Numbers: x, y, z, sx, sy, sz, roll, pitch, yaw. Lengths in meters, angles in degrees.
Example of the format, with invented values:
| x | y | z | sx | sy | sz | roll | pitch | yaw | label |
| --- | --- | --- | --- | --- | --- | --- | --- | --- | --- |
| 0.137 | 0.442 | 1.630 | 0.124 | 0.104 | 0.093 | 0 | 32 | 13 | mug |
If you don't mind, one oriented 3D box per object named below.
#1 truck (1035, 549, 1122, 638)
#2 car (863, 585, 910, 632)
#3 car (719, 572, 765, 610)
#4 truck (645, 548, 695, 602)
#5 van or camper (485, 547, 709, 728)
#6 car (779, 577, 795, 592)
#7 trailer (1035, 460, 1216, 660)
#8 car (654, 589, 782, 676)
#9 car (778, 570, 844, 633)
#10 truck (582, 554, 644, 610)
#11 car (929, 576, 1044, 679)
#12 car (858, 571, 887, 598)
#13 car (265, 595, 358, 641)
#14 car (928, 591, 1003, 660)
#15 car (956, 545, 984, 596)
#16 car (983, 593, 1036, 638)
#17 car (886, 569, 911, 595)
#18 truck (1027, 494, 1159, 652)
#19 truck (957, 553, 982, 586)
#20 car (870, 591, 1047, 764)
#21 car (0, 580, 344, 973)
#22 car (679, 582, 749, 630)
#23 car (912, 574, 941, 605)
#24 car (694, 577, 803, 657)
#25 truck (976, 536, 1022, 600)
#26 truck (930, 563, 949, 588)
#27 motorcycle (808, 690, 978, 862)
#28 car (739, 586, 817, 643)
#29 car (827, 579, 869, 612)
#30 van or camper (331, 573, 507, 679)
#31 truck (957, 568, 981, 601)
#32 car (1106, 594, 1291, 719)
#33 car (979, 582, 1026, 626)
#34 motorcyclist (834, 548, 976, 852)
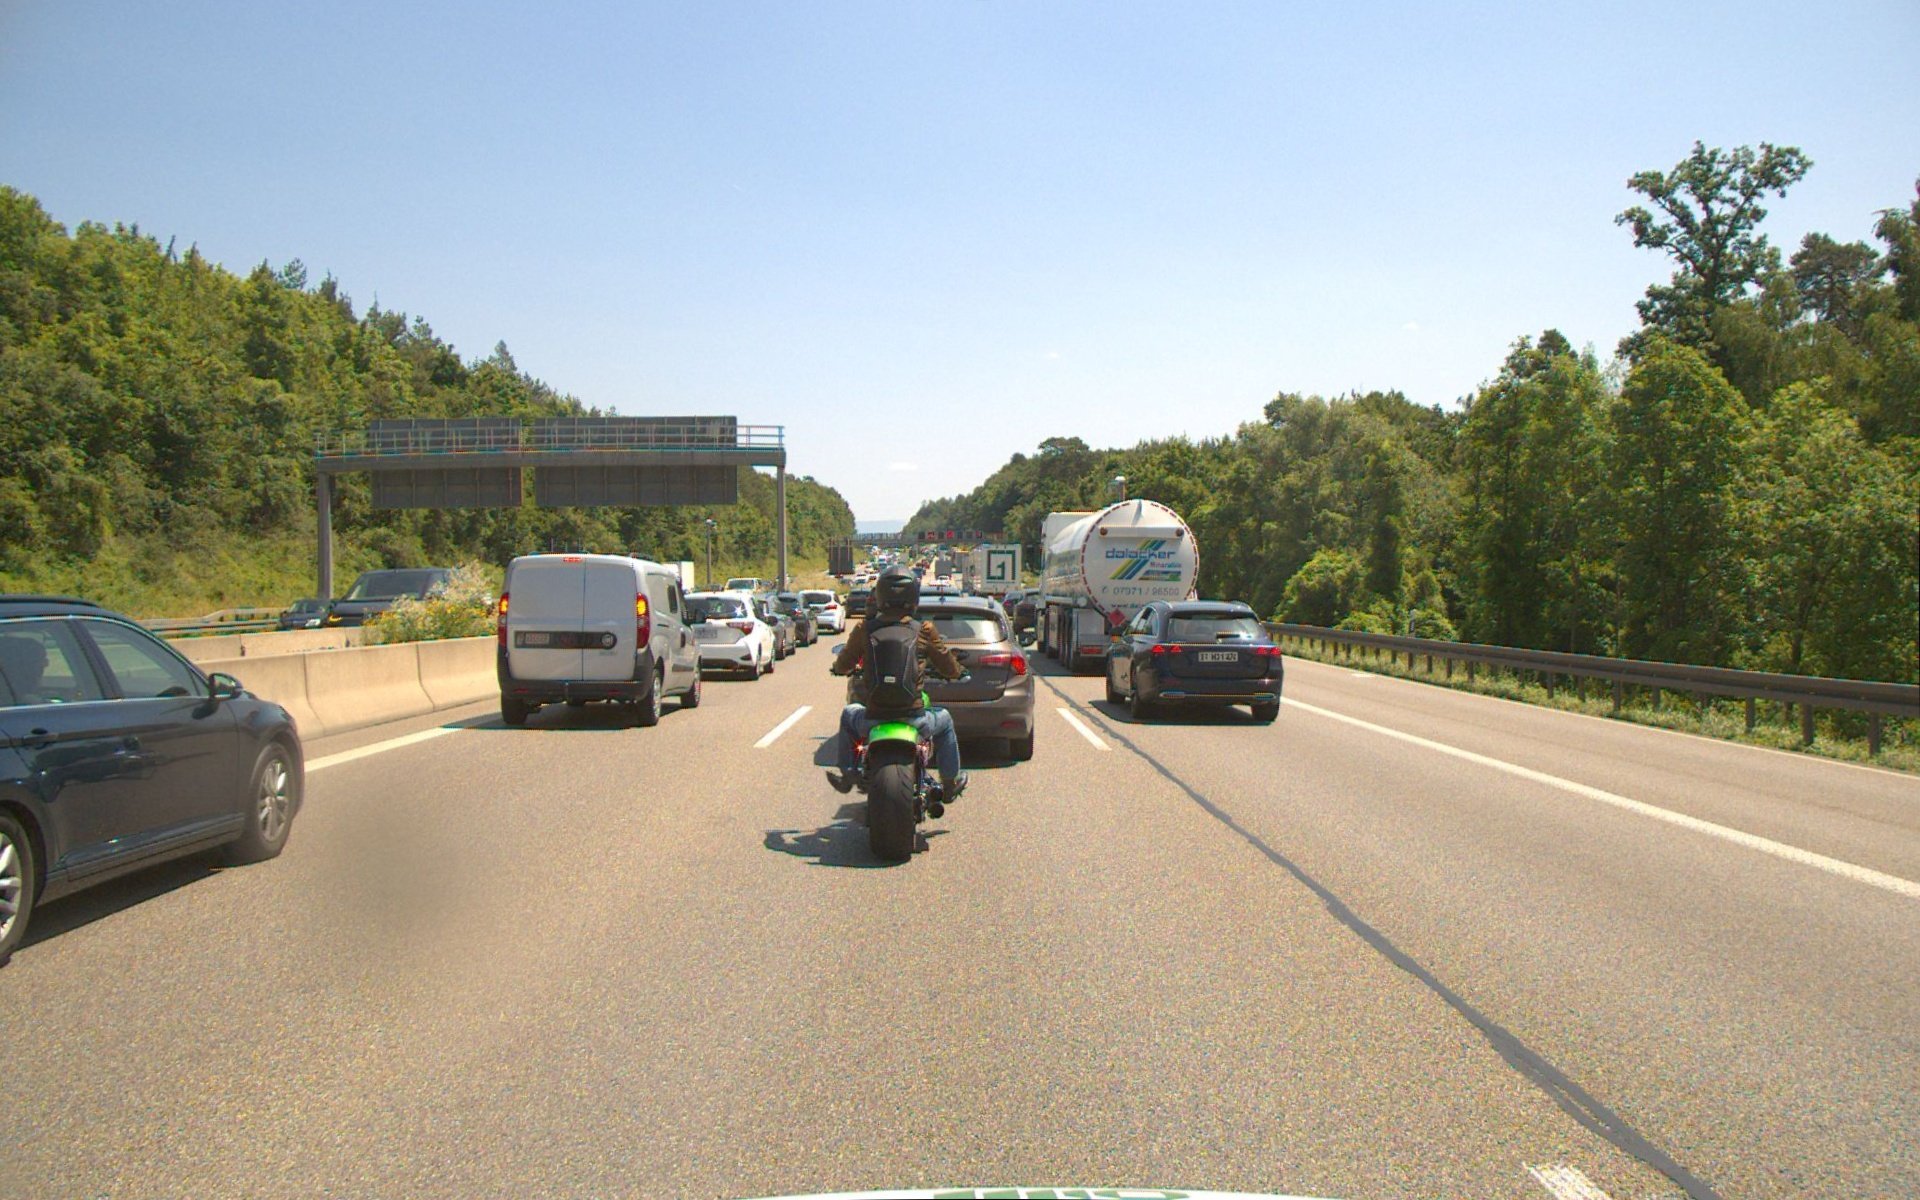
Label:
| x | y | z | sx | sy | sz | roll | pitch | yaw | label |
| --- | --- | --- | --- | --- | --- | --- | --- | --- | --- |
| 4.260 | -0.247 | 60.881 | 2.340 | 3.031 | 8.250 | 0 | 0 | -2 | truck |
| -3.270 | 0.404 | 74.349 | 1.953 | 2.049 | 3.999 | 1 | -1 | -1 | car |
| -12.116 | -0.489 | 92.061 | 1.952 | 2.049 | 4.000 | 1 | -1 | 0 | car |
| -23.010 | -1.908 | 131.663 | 2.637 | 4.059 | 7.988 | 1 | -1 | -1 | truck |
| -4.240 | 0.376 | 20.044 | 1.815 | 1.913 | 4.560 | 1 | 1 | -2 | van or camper |
| -23.899 | -2.140 | 229.024 | 1.862 | 2.049 | 3.999 | 0 | 0 | -1 | car |
| 3.375 | -0.684 | 36.563 | 2.770 | 3.735 | 10.730 | 1 | -1 | -1 | trailer |
| -4.287 | 0.575 | 29.839 | 1.740 | 1.435 | 3.999 | 1 | -1 | -1 | car |
| -5.070 | 0.079 | 56.734 | 1.953 | 2.049 | 3.999 | 1 | -1 | -1 | car |
| -19.317 | -0.933 | 92.286 | 2.133 | 2.935 | 6.740 | 1 | -1 | -1 | truck |
| 0.424 | 0.500 | 30.585 | 1.953 | 1.741 | 3.998 | 1 | -1 | -2 | car |
| -5.417 | -0.950 | 102.906 | 1.626 | 1.627 | 4.000 | 0 | 0 | 0 | car |
| -22.267 | 0.634 | 56.902 | 1.891 | 1.511 | 3.541 | 1 | -1 | -2 | car |
| 0.101 | 0.713 | 46.172 | 1.953 | 1.806 | 3.998 | 1 | -1 | -2 | car |
| 0.809 | -2.409 | 138.886 | 2.123 | 3.961 | 9.328 | 1 | -1 | -1 | car |
| 1.748 | 0.575 | 59.702 | 1.740 | 1.554 | 3.999 | 1 | -1 | -1 | car |
| -5.029 | -1.446 | 135.539 | 1.953 | 2.049 | 3.999 | 0 | 0 | -1 | car |
| 3.310 | -0.606 | 42.706 | 2.770 | 3.735 | 6.428 | 1 | -1 | -1 | truck |
| 1.039 | -3.366 | 186.305 | 2.641 | 3.465 | 10.476 | 0 | 0 | -1 | truck |
| -0.034 | 0.666 | 16.331 | 1.509 | 1.475 | 3.999 | 1 | 0 | -1 | car |
| -4.524 | 0.656 | 7.356 | 1.836 | 1.475 | 4.677 | 1 | 0 | -1 | car |
| -7.971 | 0.170 | 53.935 | 1.788 | 1.521 | 3.999 | 0 | 0 | -2 | car |
| -2.276 | -0.721 | 113.324 | 1.953 | 2.049 | 3.999 | 0 | 0 | -1 | car |
| -4.778 | 0.399 | 37.912 | 1.953 | 1.713 | 4.329 | 1 | -1 | -1 | car |
| 2.545 | -1.984 | 105.930 | 2.794 | 3.888 | 7.189 | 1 | -1 | 2 | truck |
| -2.953 | -3.461 | 238.532 | 2.641 | 3.465 | 10.476 | 0 | 0 | -1 | truck |
| -0.379 | 1.023 | 10.195 | 0.917 | 0.807 | 2.298 | 1 | 0 | -1 | motorcycle |
| -5.022 | 0.415 | 46.084 | 1.954 | 1.490 | 3.997 | 1 | -1 | -3 | car |
| -5.297 | -0.183 | 78.556 | 1.728 | 1.467 | 3.999 | 1 | -1 | 0 | car |
| -11.242 | 0.533 | 34.742 | 1.952 | 2.049 | 4.928 | 1 | -1 | 1 | van or camper |
| 0.632 | -1.013 | 113.046 | 1.558 | 2.148 | 3.752 | 1 | -1 | 2 | truck |
| 3.068 | 0.710 | 22.192 | 1.755 | 1.484 | 4.623 | 1 | -1 | -1 | car |
| 2.003 | 0.217 | 78.838 | 1.953 | 2.049 | 3.998 | 1 | -1 | -2 | car |
| -0.314 | 0.573 | 9.892 | 0.782 | 1.717 | 1.016 | 1 | -1 | -1 | motorcyclist |
